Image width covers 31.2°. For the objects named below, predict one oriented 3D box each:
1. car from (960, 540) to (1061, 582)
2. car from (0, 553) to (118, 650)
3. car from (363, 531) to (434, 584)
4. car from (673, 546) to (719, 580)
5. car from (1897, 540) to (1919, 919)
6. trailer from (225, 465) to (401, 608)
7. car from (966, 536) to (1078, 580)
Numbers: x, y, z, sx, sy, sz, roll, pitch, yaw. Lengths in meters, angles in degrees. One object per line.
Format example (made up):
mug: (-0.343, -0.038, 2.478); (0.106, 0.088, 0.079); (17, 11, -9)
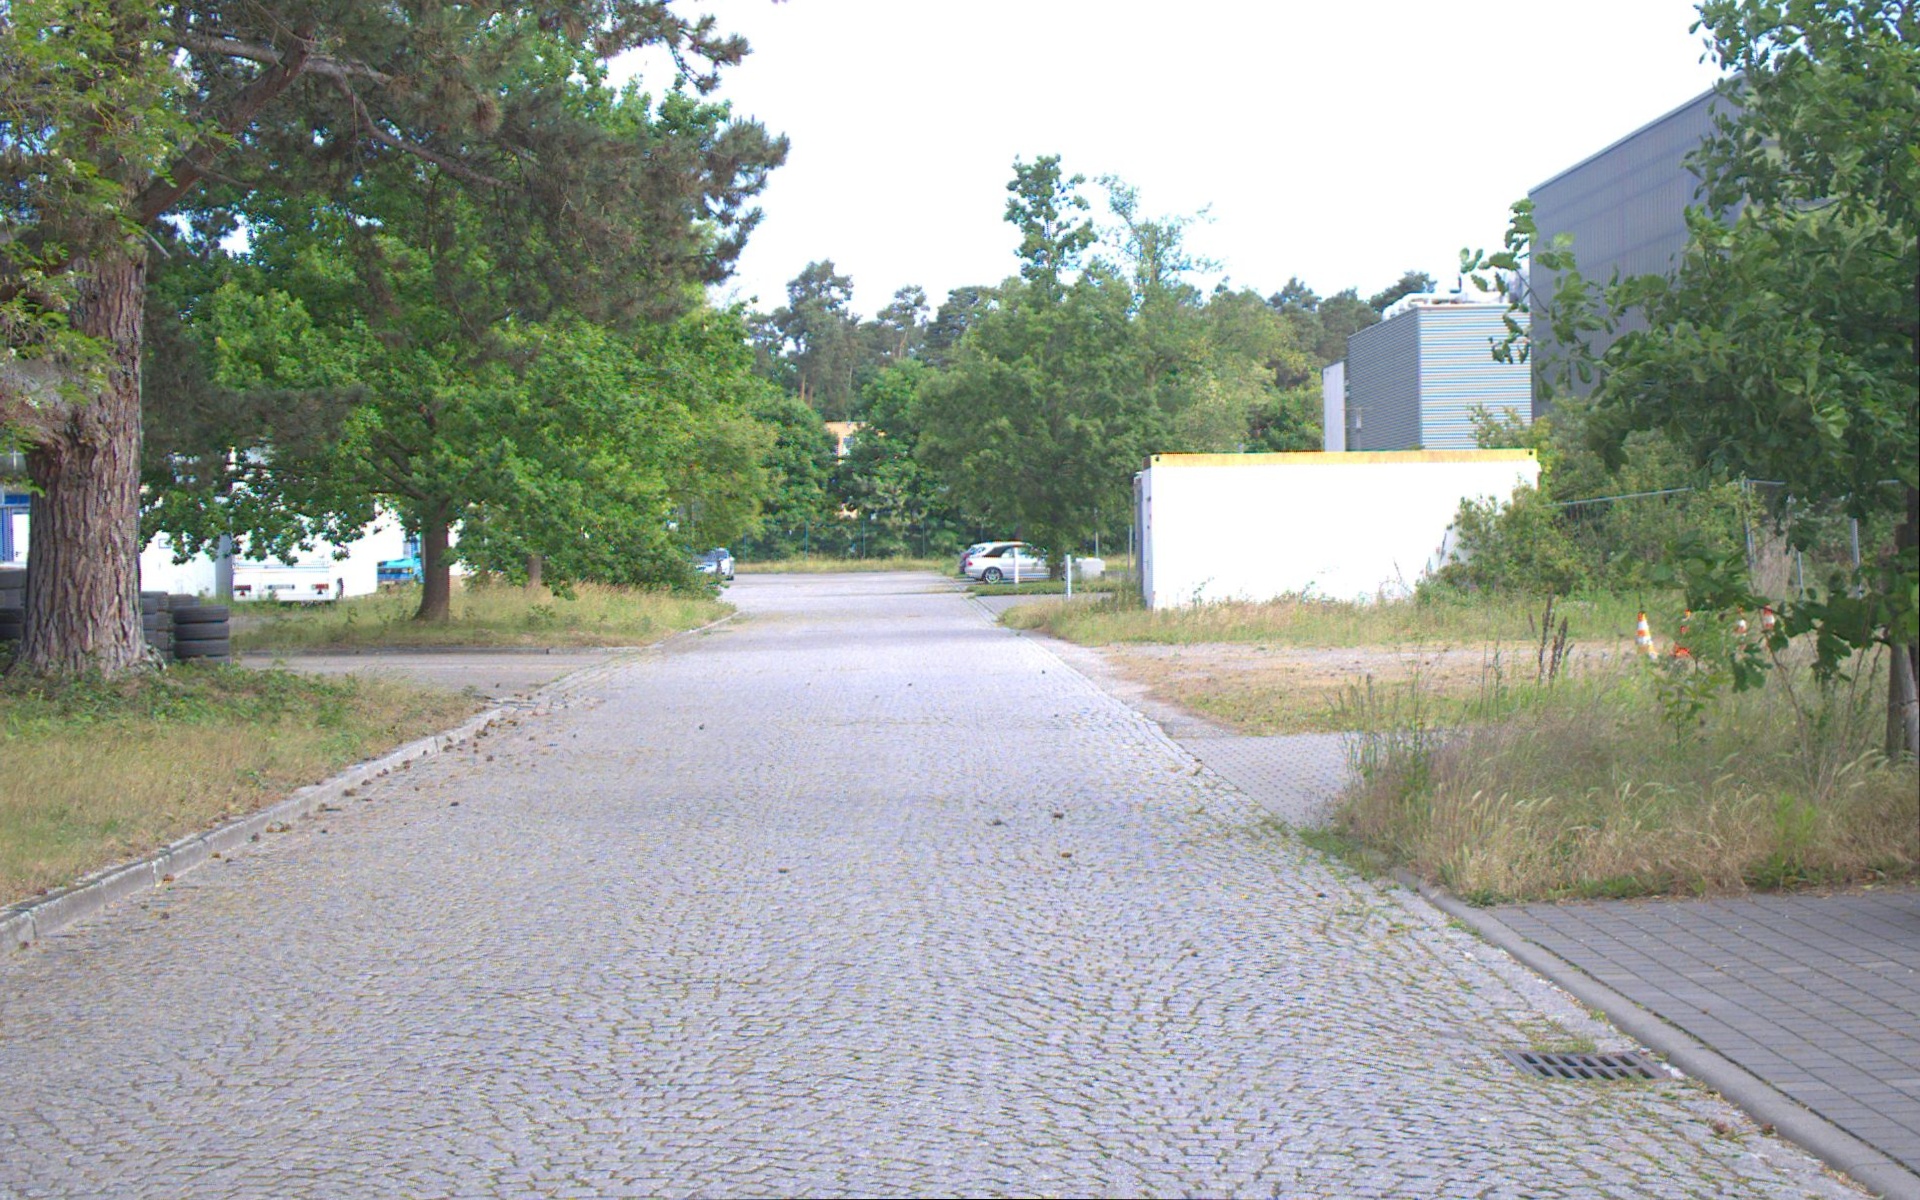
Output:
car: (1.780, -1.399, 123.106); (3.522, 1.357, 1.622); (-3, 1, 0)
car: (-14.833, 0.003, 54.600); (1.626, 1.428, 4.063); (-1, 1, 4)
car: (-21.591, -1.646, 132.335); (1.993, 2.007, 4.767); (0, 1, -1)
car: (-11.083, -1.559, 144.504); (1.647, 1.364, 3.998); (-1, 1, -1)
car: (5.257, 0.480, 13.353); (2.710, 1.551, 1.654); (-3, 1, 0)
trailer: (-17.273, -1.700, 92.480); (2.625, 3.585, 10.177); (-1, 1, 1)
car: (2.262, -1.541, 125.805); (3.984, 1.443, 1.653); (-3, 1, 0)
